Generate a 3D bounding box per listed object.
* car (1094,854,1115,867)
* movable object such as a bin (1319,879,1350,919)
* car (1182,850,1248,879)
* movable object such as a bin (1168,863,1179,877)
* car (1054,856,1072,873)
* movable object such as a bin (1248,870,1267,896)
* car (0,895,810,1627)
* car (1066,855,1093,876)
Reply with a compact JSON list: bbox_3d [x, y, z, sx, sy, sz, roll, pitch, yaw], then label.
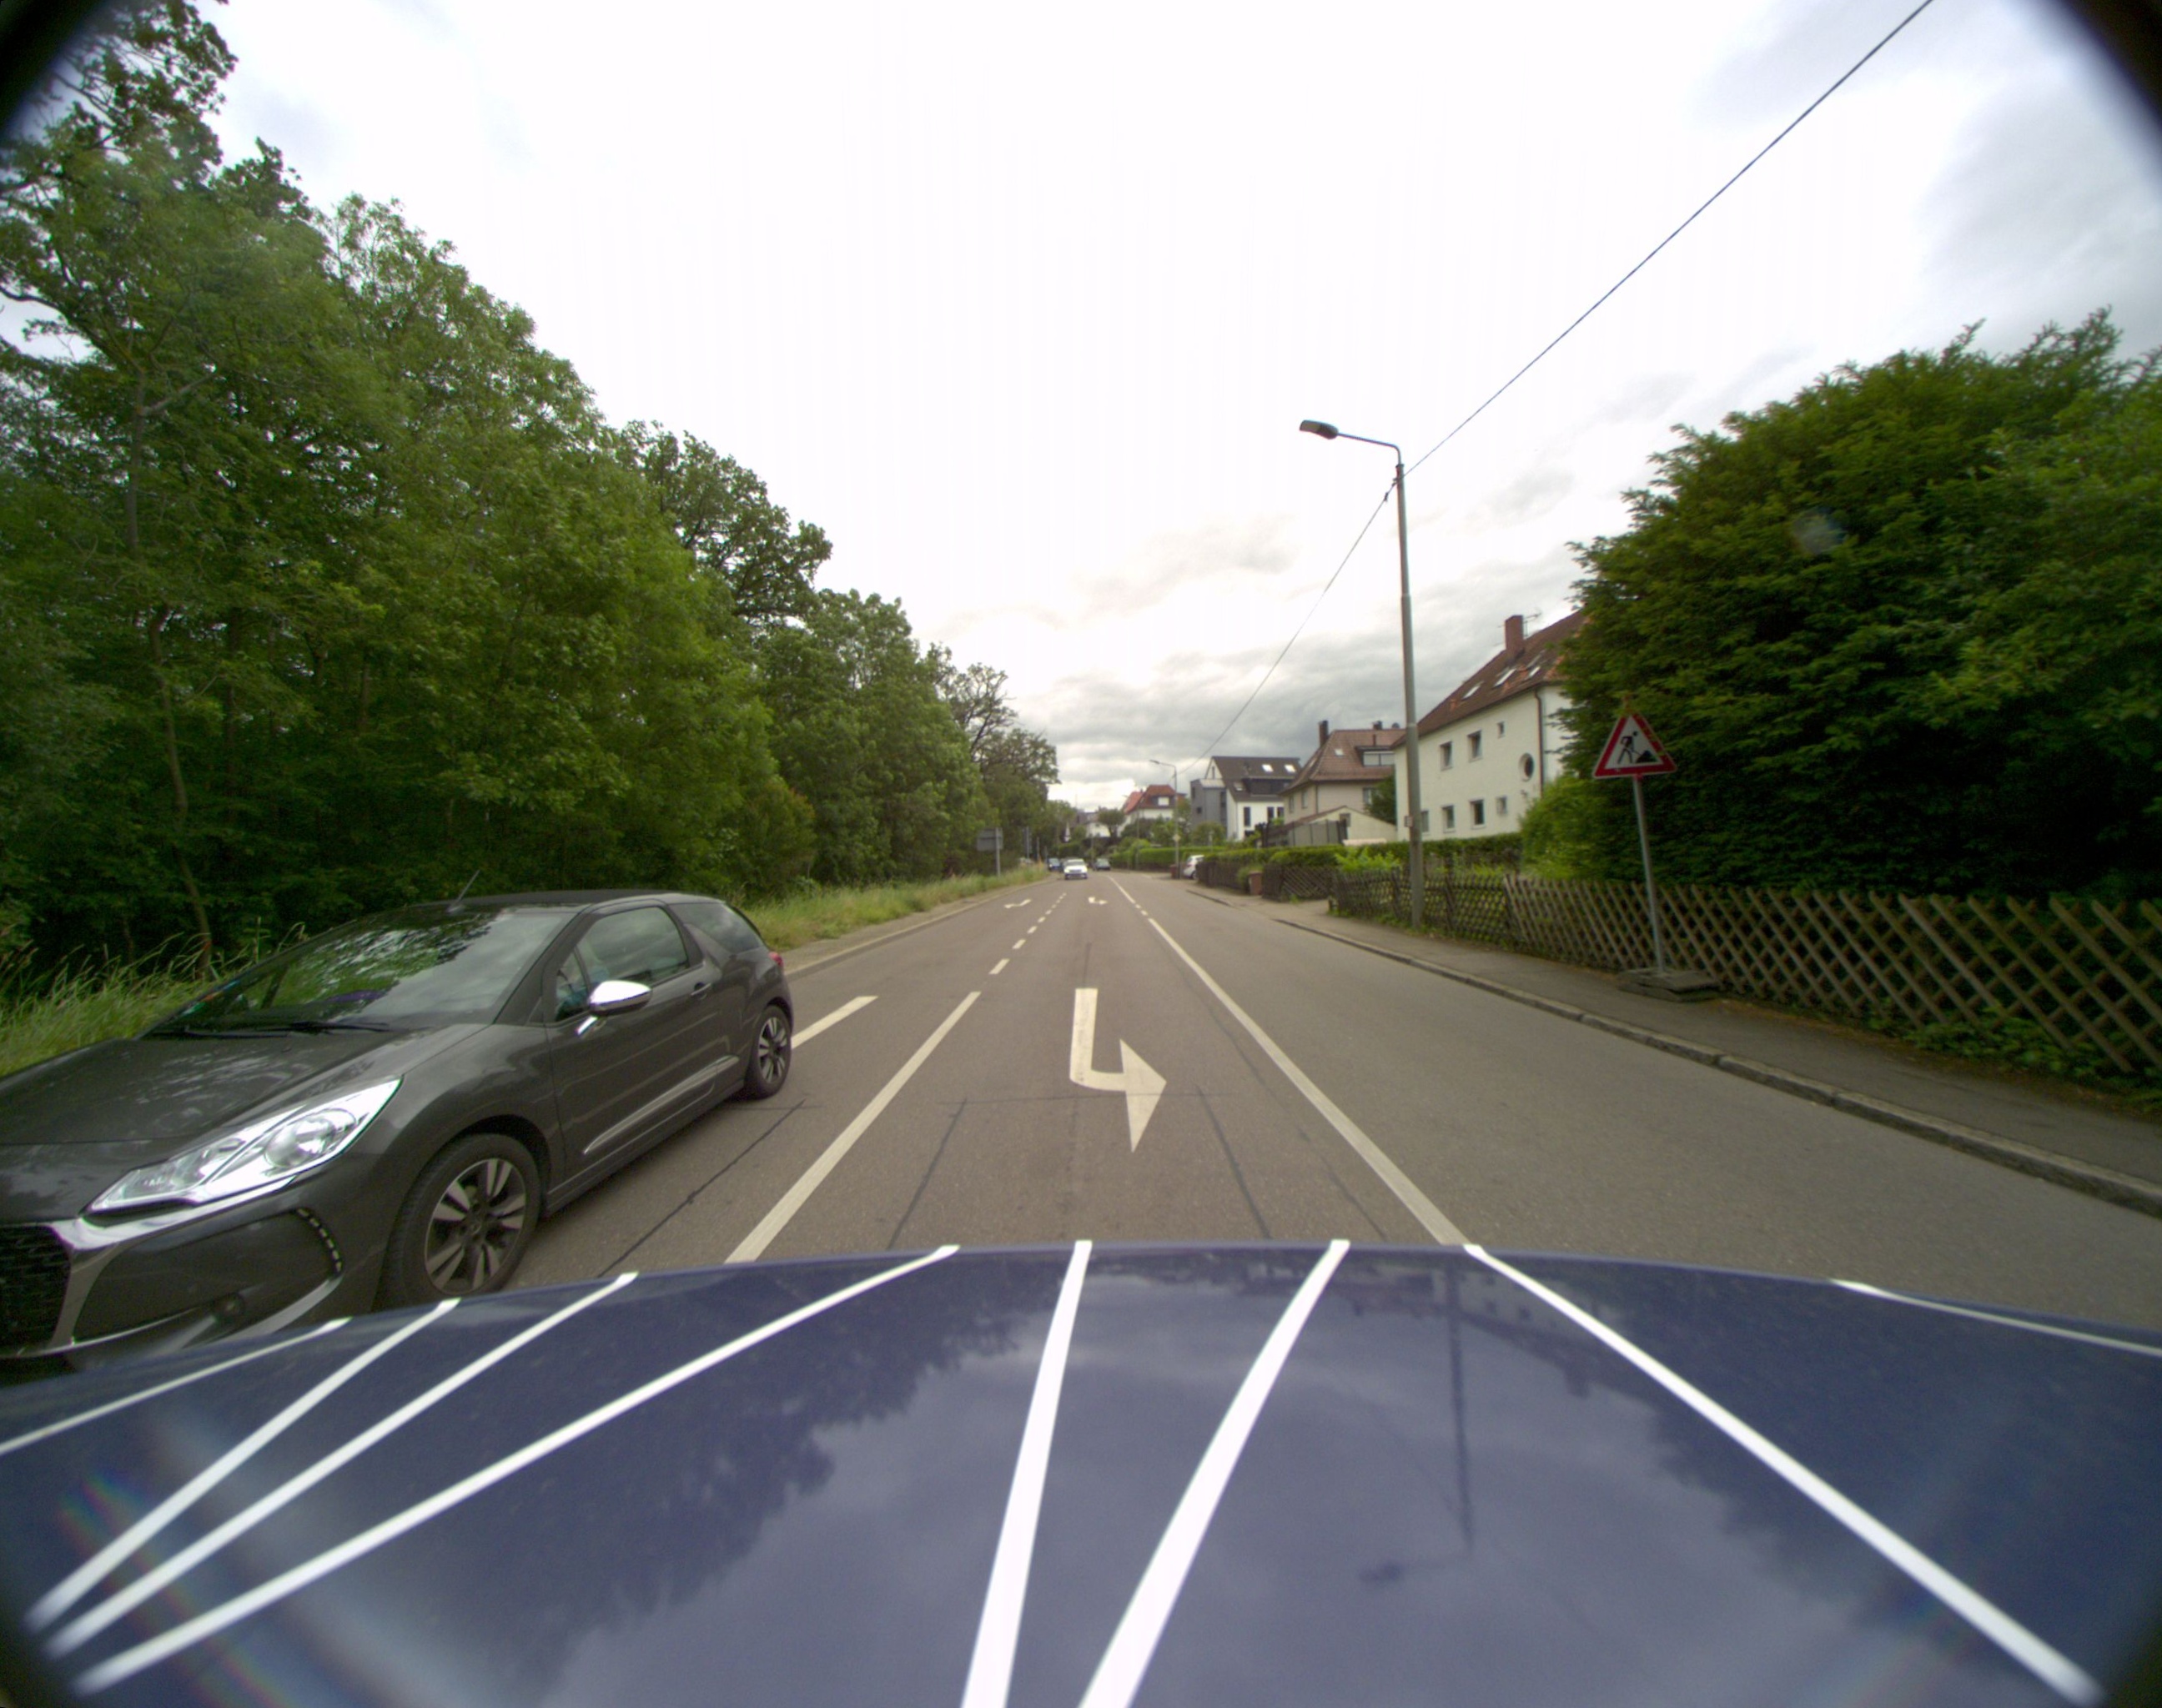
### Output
[{"bbox_3d":[2.948,0.849,95.782,1.840,1.514,3.997,-2,0,-9],"label":"car"},{"bbox_3d":[6.136,1.089,18.400,0.551,0.933,0.538,-1,0,3],"label":"movable object such as a bin"},{"bbox_3d":[8.777,0.686,50.092,3.997,1.584,1.718,-4,0,1],"label":"car"},{"bbox_3d":[6.488,1.108,53.293,0.690,0.948,0.572,-1,0,-1],"label":"movable object such as a bin"},{"bbox_3d":[-2.136,1.217,92.185,1.998,2.002,4.000,-1,0,1],"label":"car"},{"bbox_3d":[6.512,1.078,28.107,0.634,0.907,0.561,-3,0,11],"label":"movable object such as a bin"},{"bbox_3d":[-2.965,1.067,3.682,1.730,1.449,3.855,-2,0,2],"label":"car"},{"bbox_3d":[-0.126,0.931,63.167,1.998,1.565,4.001,-2,0,3],"label":"car"}]
